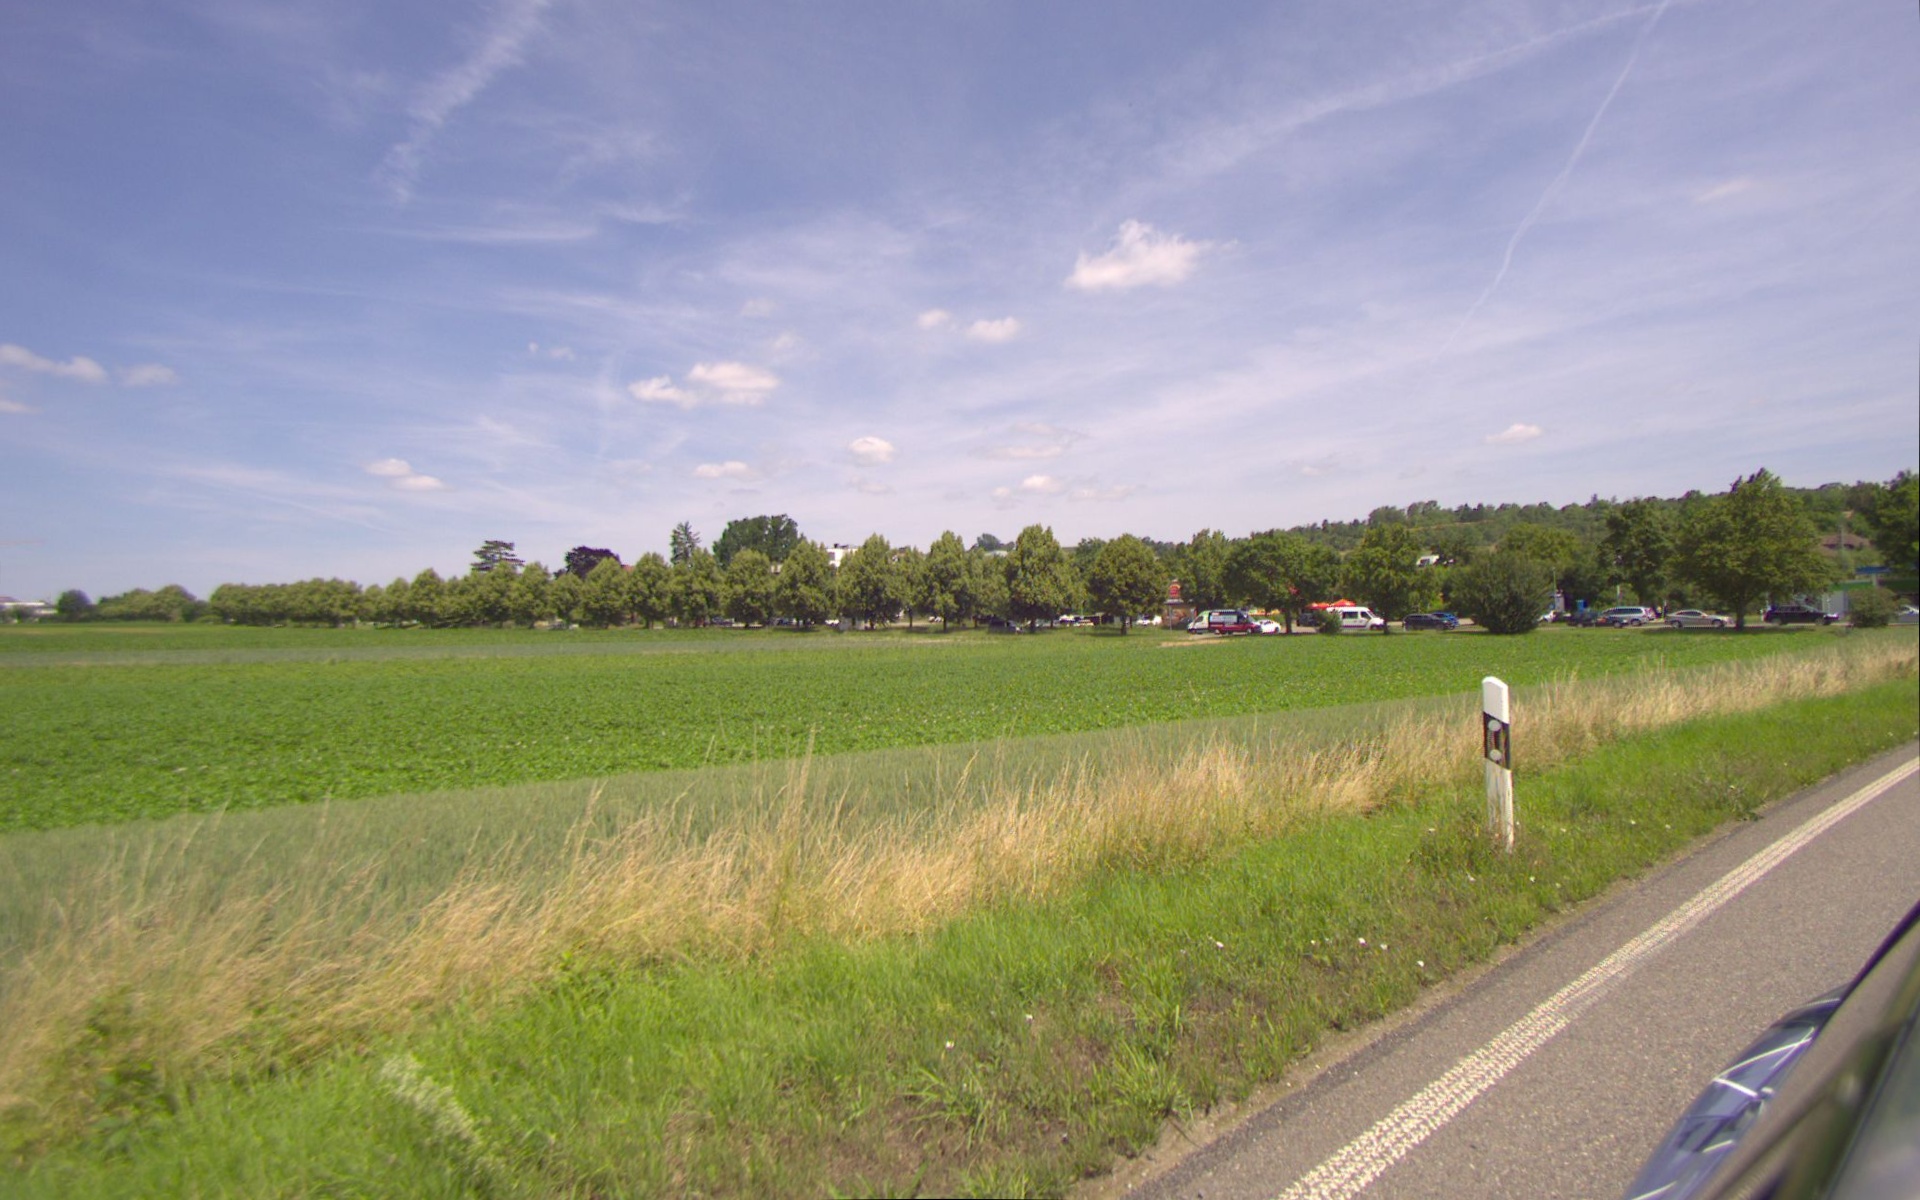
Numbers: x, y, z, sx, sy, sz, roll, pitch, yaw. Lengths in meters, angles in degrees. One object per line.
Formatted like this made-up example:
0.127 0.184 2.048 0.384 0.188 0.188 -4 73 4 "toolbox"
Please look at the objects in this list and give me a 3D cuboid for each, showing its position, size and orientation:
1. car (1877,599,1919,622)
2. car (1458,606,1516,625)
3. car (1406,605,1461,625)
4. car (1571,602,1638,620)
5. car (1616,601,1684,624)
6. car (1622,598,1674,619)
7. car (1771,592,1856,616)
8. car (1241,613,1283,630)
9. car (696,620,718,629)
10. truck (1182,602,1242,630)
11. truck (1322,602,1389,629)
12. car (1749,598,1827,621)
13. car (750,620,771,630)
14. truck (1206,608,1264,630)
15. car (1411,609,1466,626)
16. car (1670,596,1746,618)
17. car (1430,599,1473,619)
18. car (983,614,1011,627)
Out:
66.743 0.725 69.991 1.766 1.530 4.561 1 -2 -34 "car"
49.996 1.479 96.119 4.511 1.713 1.838 -2 0 44 "car"
43.883 1.407 93.846 4.271 1.719 1.972 -3 0 40 "car"
53.941 0.949 84.729 4.539 1.289 1.775 -3 0 40 "car"
58.228 1.067 85.383 4.508 1.713 1.839 -2 0 42 "car"
65.857 0.852 96.855 3.977 1.847 1.798 -3 0 38 "car"
63.429 0.316 75.307 1.769 1.528 4.556 -4 1 -39 "car"
33.764 2.407 113.103 4.411 1.579 1.879 -3 0 -28 "car"
-50.349 4.877 201.623 4.792 1.611 1.844 -3 0 42 "car"
27.320 1.771 109.884 5.902 2.771 2.048 -3 1 35 "truck"
38.114 1.491 97.603 5.597 2.396 2.029 -3 0 34 "truck"
65.986 0.777 80.713 1.835 1.713 4.518 -2 0 -41 "car"
-37.284 4.718 189.173 3.983 1.650 1.718 -3 0 42 "car"
28.273 1.990 104.058 5.437 2.000 1.779 -3 -1 35 "truck"
45.382 1.682 95.973 4.373 1.579 1.756 -2 -2 44 "car"
58.736 0.591 79.554 1.772 1.529 4.548 -2 -1 -44 "car"
51.655 0.937 106.313 3.960 1.847 1.806 -3 0 27 "car"
5.604 3.072 154.315 3.983 1.847 1.708 -3 0 42 "car"
